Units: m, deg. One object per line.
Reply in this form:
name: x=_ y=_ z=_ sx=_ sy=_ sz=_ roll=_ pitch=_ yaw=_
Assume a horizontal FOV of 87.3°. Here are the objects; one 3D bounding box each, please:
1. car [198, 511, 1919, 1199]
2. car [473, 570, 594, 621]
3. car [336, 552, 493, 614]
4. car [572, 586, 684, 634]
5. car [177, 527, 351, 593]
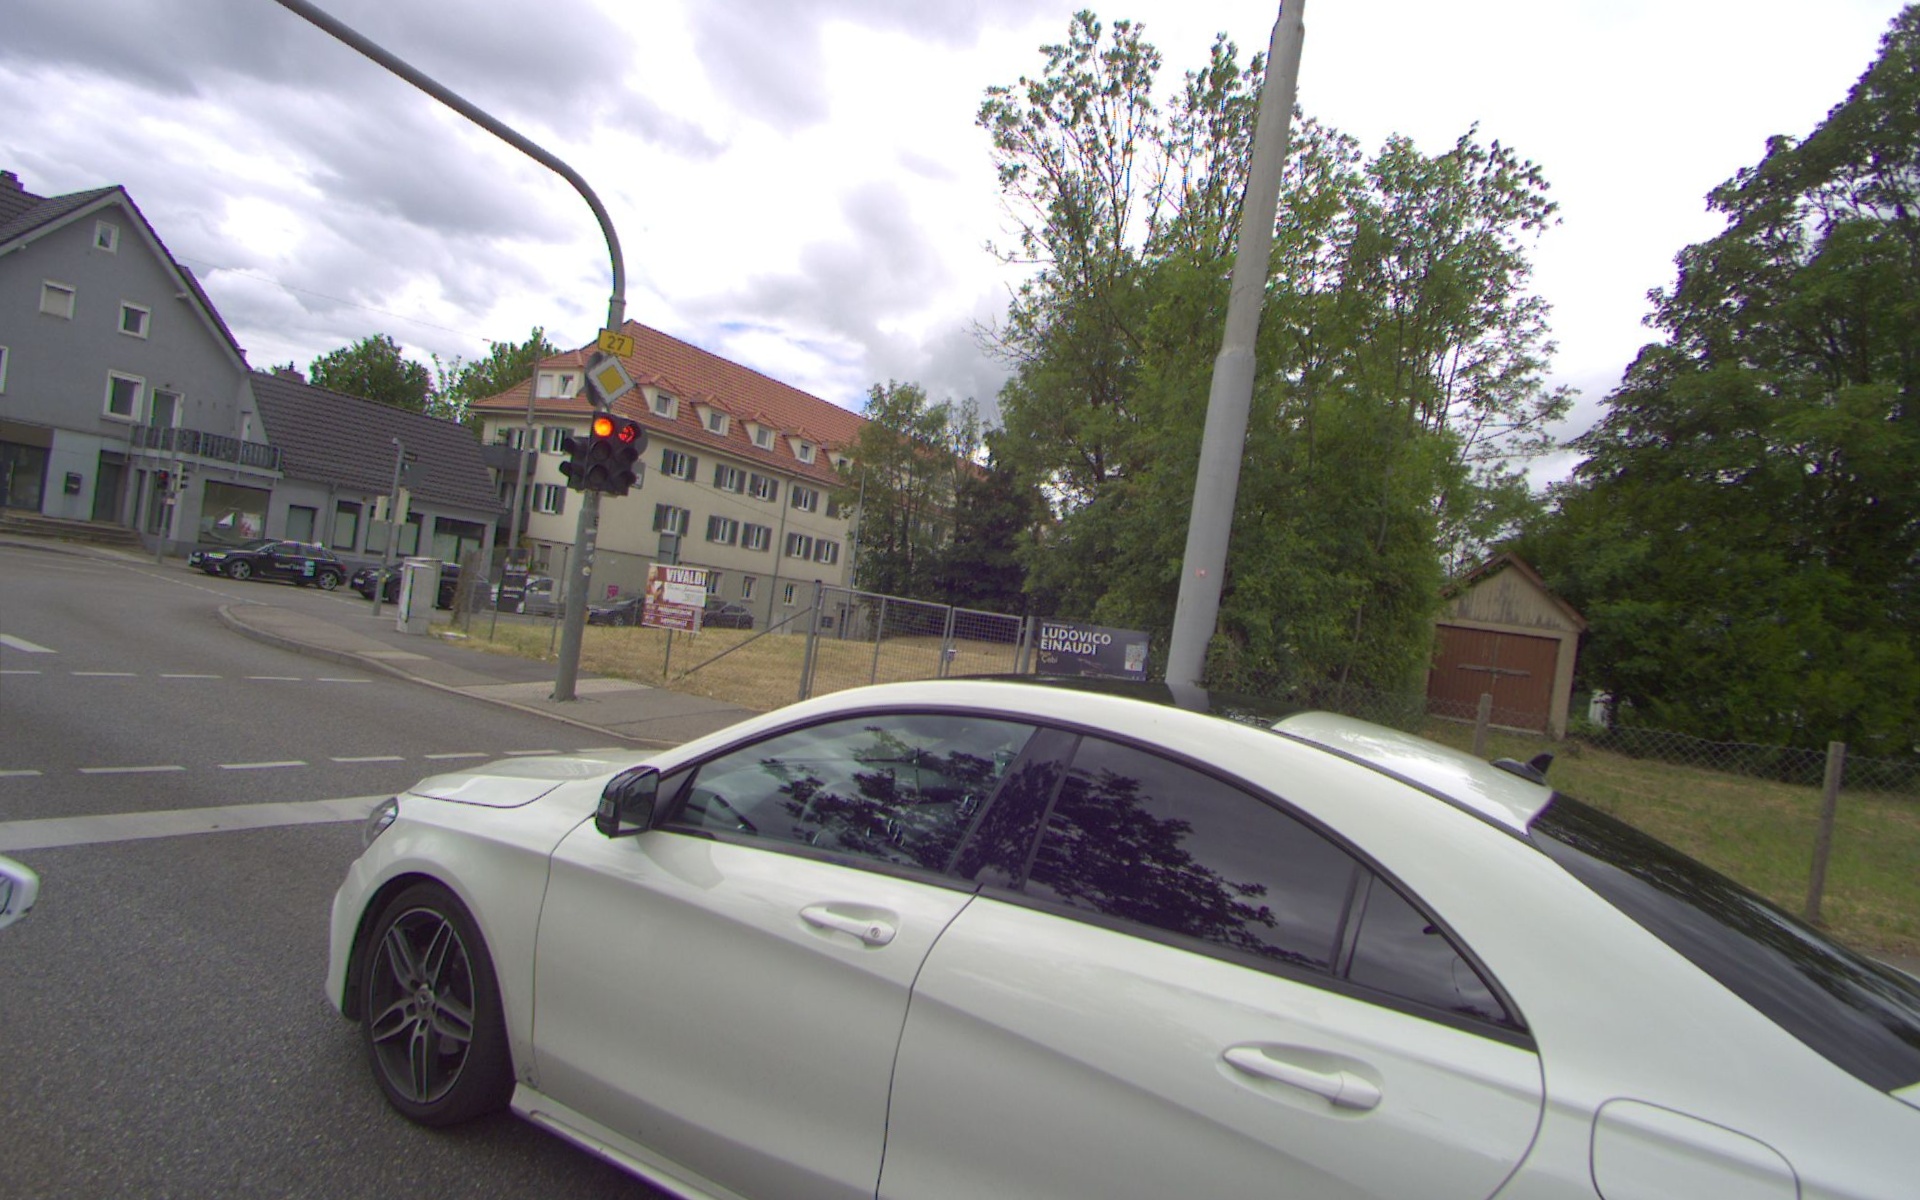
car: x=0.093 y=0.796 z=2.806 sx=4.694 sy=1.523 sz=1.871 roll=7 pitch=-2 yaw=32
car: x=-16.995 y=-0.145 z=40.277 sx=1.769 sy=1.386 sz=4.099 roll=7 pitch=-3 yaw=30
car: x=-17.873 y=-0.520 z=33.144 sx=1.769 sy=1.386 sz=4.099 roll=7 pitch=-3 yaw=30
car: x=-13.512 y=0.440 z=41.158 sx=1.769 sy=1.386 sz=4.099 roll=7 pitch=-3 yaw=30
car: x=-22.122 y=-1.245 z=32.128 sx=1.769 sy=1.386 sz=4.099 roll=7 pitch=-3 yaw=30
